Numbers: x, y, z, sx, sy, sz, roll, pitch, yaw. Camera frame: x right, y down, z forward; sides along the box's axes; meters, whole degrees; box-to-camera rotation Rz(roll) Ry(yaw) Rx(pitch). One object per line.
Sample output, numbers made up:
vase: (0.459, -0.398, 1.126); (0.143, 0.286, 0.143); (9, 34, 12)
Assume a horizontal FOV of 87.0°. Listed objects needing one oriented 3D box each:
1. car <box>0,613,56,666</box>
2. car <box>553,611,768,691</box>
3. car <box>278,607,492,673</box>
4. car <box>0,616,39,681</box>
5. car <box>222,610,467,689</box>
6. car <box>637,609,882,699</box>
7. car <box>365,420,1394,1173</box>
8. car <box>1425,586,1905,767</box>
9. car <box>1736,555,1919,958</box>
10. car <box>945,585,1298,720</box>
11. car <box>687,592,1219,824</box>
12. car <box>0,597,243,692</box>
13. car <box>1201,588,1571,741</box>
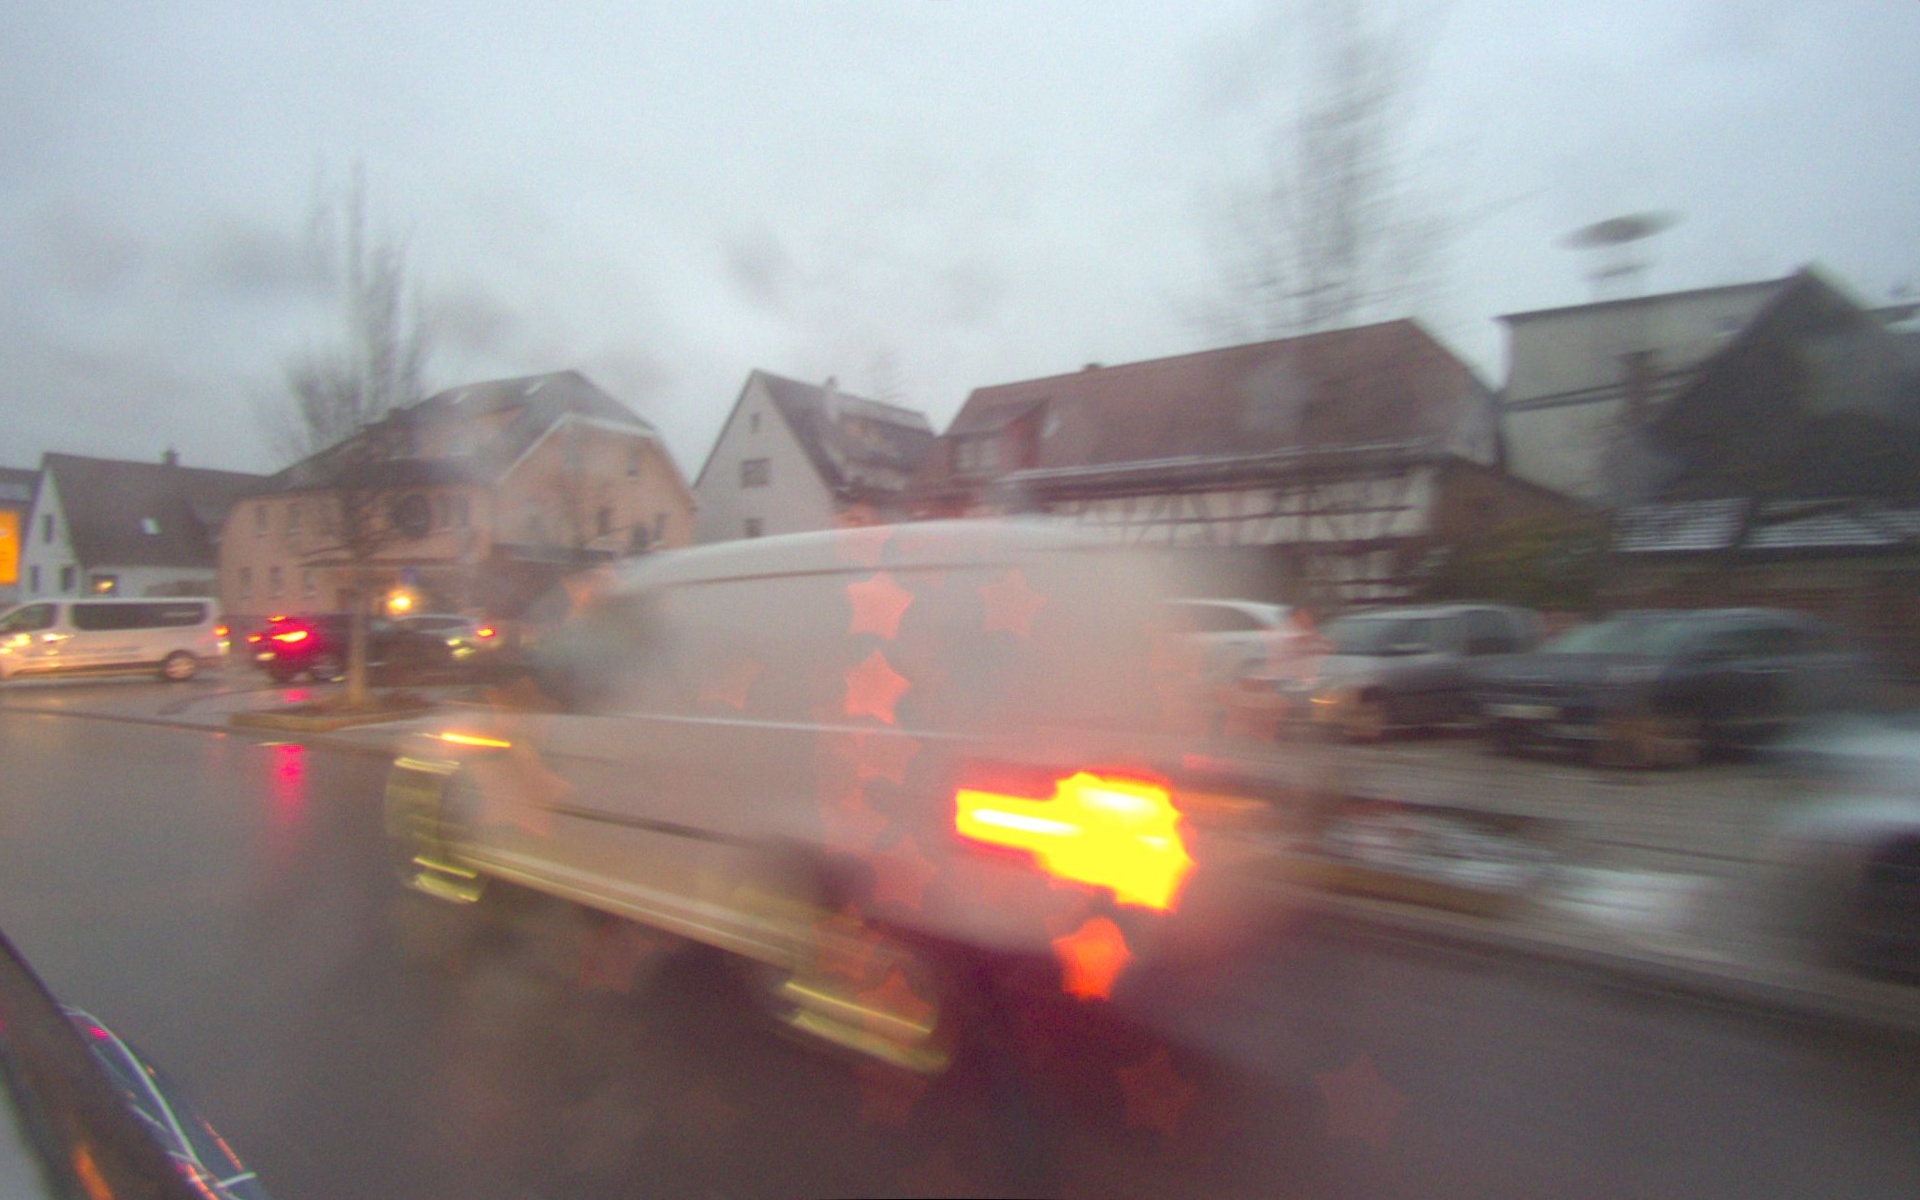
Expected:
car: (-32.248, 1.284, 32.207); (1.992, 1.697, 4.831); (-2, -2, 30)
car: (-5.984, 0.991, 20.248); (3.865, 1.470, 1.768); (1, -3, -27)
car: (-15.740, 1.143, 27.934); (1.997, 1.648, 4.709); (-3, -4, 37)
car: (-26.625, 1.262, 26.002); (1.991, 1.697, 3.962); (-1, -2, 28)
car: (-14.192, 1.071, 23.614); (2.146, 1.644, 4.405); (0, -1, 29)
car: (-3.612, 0.919, 18.314); (4.003, 1.470, 1.763); (1, -1, -28)
car: (-0.794, 0.527, 4.718); (4.848, 1.764, 1.925); (-1, -3, 41)
car: (7.060, 0.664, 10.255); (3.931, 1.541, 2.006); (0, -1, -18)
car: (5.252, 0.581, 3.810); (3.670, 1.547, 1.816); (-1, -1, 38)
car: (2.287, 0.688, 14.361); (4.575, 1.666, 1.994); (1, -1, -23)
car: (-0.150, 0.769, 8.707); (4.242, 1.545, 1.890); (-1, -1, 32)
car: (-19.918, 0.956, 22.931); (1.990, 1.960, 5.699); (-2, -1, 42)
car: (5.098, 0.729, 12.119); (4.042, 1.594, 1.726); (1, -2, -23)
